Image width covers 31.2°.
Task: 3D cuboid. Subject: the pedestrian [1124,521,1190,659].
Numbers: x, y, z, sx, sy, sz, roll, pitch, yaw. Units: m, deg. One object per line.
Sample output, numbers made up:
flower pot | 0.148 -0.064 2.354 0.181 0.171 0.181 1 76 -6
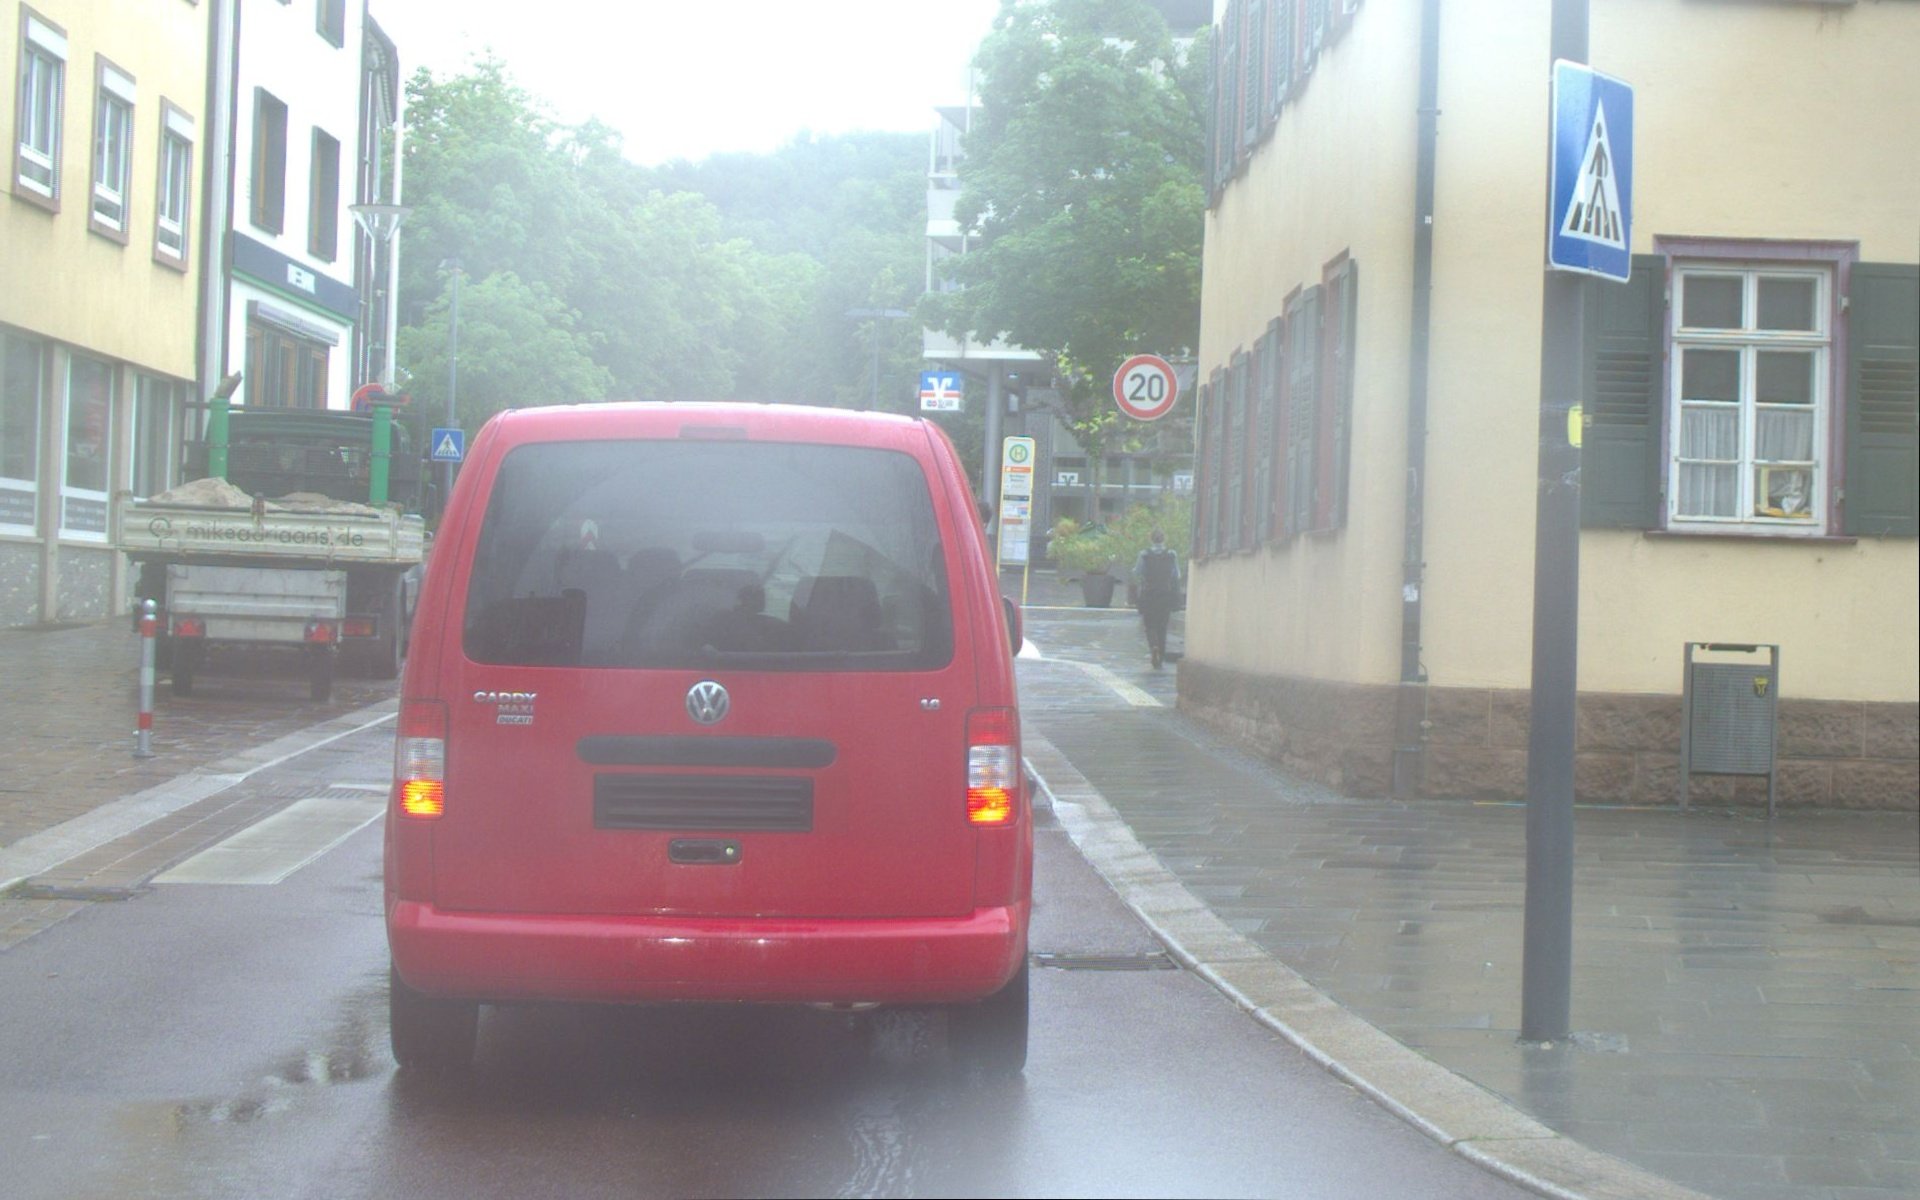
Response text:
pedestrian | 2.335 -0.119 40.821 0.728 1.611 0.694 1 0 1

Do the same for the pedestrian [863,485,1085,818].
pedestrian | 0.074 0.256 18.104 0.865 1.687 0.716 0 2 -40

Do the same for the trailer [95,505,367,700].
trailer | -5.512 -0.018 26.307 1.727 1.342 3.161 1 2 -7

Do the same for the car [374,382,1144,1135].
car | -0.677 0.358 10.495 1.862 1.824 4.186 1 1 -5

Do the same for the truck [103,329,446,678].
truck | -6.038 -0.897 31.125 2.473 2.785 6.601 1 2 -7
